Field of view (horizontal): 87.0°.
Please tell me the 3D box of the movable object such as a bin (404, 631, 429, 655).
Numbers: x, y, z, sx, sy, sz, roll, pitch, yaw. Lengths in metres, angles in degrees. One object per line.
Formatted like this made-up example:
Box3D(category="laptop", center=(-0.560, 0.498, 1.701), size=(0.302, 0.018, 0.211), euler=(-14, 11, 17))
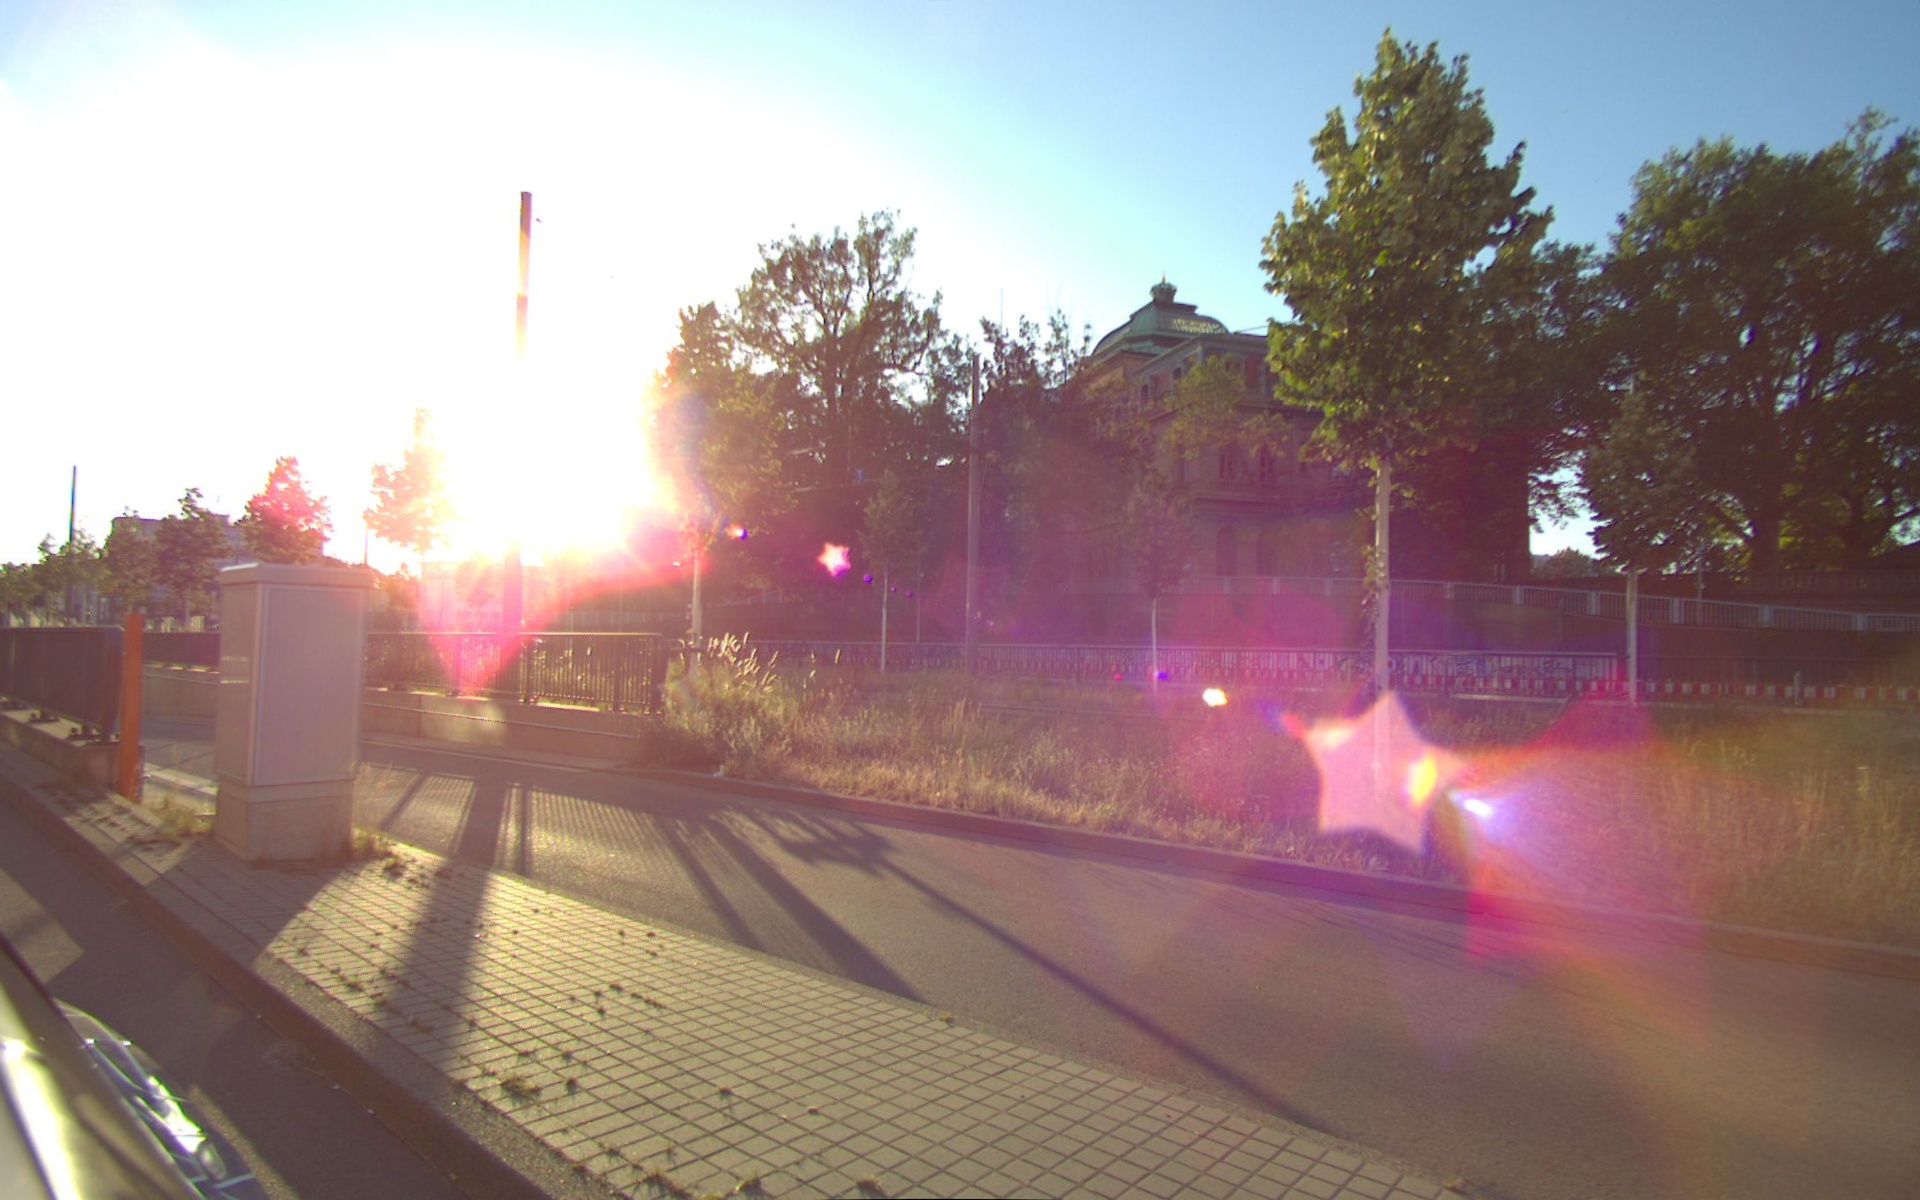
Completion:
Box3D(category="movable object such as a bin", center=(-63.301, 5.022, 117.785), size=(1.967, 2.727, 4.009), euler=(2, -3, -36))
